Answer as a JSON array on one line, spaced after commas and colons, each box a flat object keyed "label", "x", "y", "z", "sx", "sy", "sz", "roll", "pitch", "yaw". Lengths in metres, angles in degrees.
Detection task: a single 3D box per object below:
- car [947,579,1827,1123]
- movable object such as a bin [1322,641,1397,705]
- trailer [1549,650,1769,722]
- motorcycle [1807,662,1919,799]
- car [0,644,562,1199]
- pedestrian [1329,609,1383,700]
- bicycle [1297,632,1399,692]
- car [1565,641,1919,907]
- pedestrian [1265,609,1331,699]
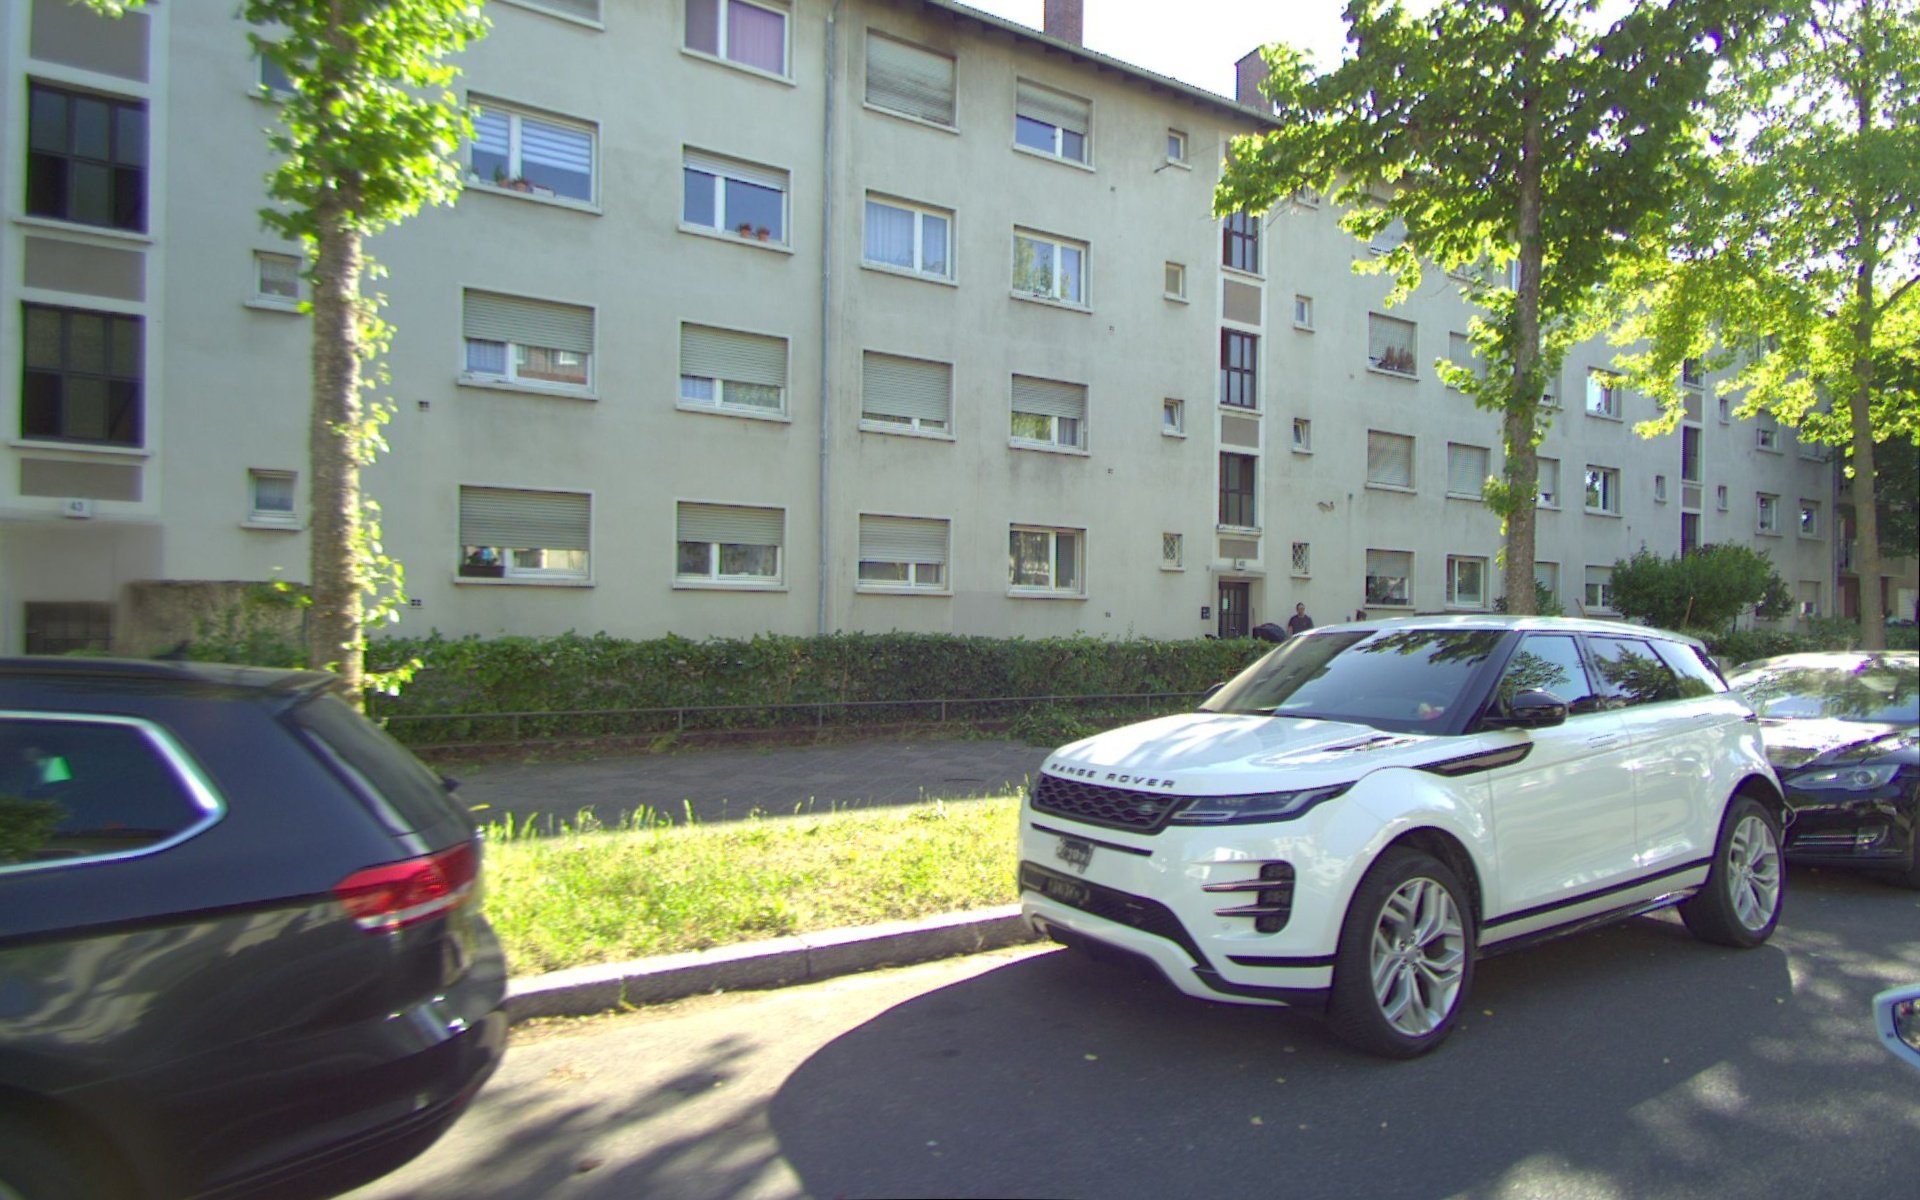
[{"label": "car", "x": 2.231, "y": 0.864, "z": 4.927, "sx": 4.316, "sy": 1.638, "sz": 1.721, "roll": 1, "pitch": -5, "yaw": -31}, {"label": "movable object such as a bin", "x": 6.884, "y": 1.243, "z": 17.339, "sx": 0.833, "sy": 1.047, "sz": 0.879, "roll": 1, "pitch": -2, "yaw": -27}, {"label": "trailer", "x": 11.784, "y": 1.393, "z": 16.945, "sx": 3.240, "sy": 1.047, "sz": 1.782, "roll": 1, "pitch": -1, "yaw": -28}, {"label": "motorcycle", "x": 9.728, "y": 1.261, "z": 9.676, "sx": 0.801, "sy": 1.287, "sz": 2.267, "roll": 2, "pitch": -3, "yaw": -39}, {"label": "car", "x": -3.369, "y": 0.844, "z": 1.789, "sx": 4.764, "sy": 1.465, "sz": 1.720, "roll": 1, "pitch": -3, "yaw": -31}, {"label": "pedestrian", "x": 8.651, "y": 1.185, "z": 21.989, "sx": 0.861, "sy": 1.939, "sz": 0.783, "roll": 0, "pitch": -1, "yaw": -3}, {"label": "bicycle", "x": 7.942, "y": 1.267, "z": 20.592, "sx": 1.918, "sy": 1.168, "sz": 0.513, "roll": 1, "pitch": 0, "yaw": -6}, {"label": "car", "x": 6.784, "y": 1.091, "z": 7.593, "sx": 4.563, "sy": 1.496, "sz": 1.721, "roll": 1, "pitch": -5, "yaw": -30}, {"label": "pedestrian", "x": 7.410, "y": 1.173, "z": 22.043, "sx": 1.011, "sy": 1.913, "sz": 0.931, "roll": 1, "pitch": -1, "yaw": -23}]
